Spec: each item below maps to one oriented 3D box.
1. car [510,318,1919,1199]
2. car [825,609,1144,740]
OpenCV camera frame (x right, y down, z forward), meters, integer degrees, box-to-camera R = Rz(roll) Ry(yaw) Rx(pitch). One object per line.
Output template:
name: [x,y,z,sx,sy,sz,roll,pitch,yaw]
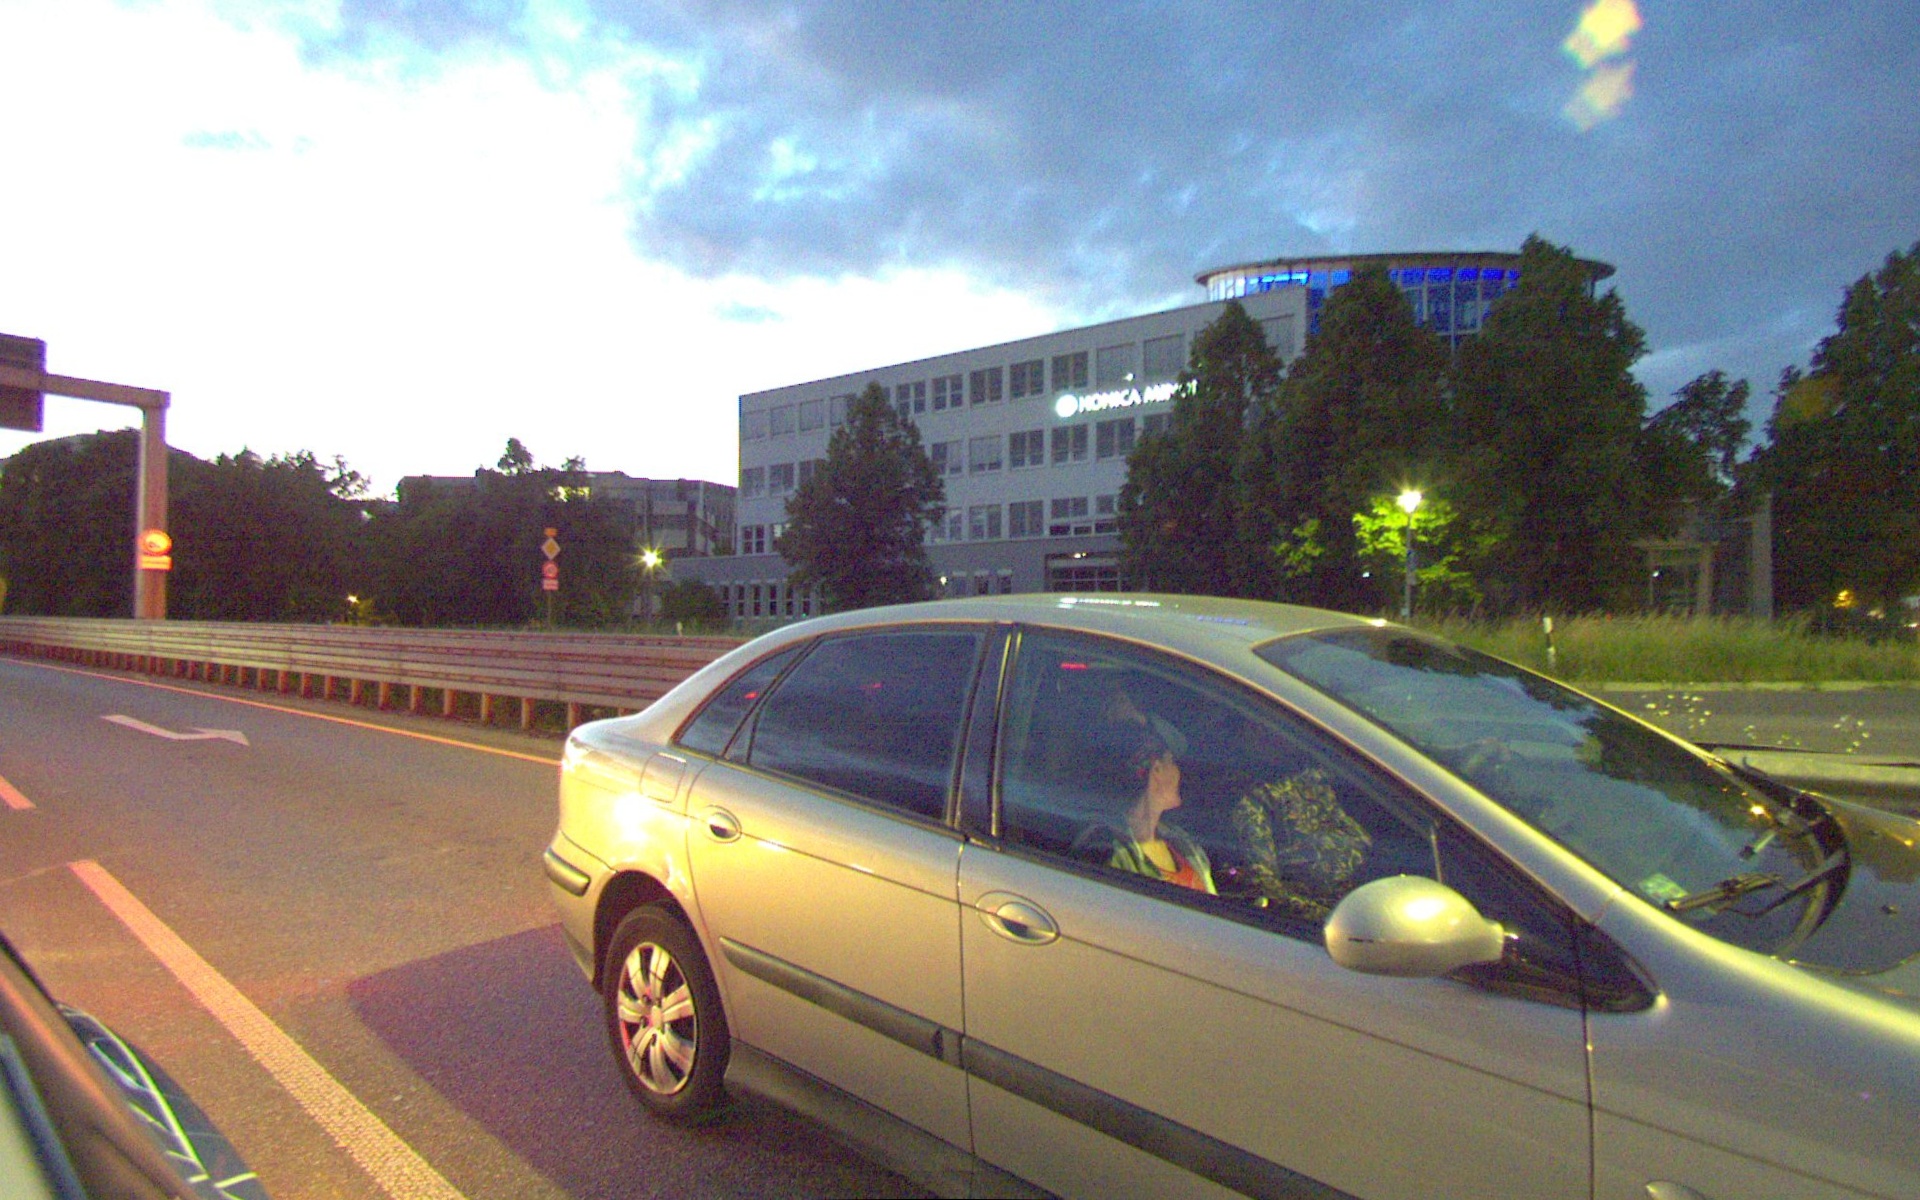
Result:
car: [0.743,0.543,2.417,4.409,1.665,1.648,-1,0,42]
car: [0.195,0.870,13.318,4.111,1.454,1.738,-1,-2,44]
